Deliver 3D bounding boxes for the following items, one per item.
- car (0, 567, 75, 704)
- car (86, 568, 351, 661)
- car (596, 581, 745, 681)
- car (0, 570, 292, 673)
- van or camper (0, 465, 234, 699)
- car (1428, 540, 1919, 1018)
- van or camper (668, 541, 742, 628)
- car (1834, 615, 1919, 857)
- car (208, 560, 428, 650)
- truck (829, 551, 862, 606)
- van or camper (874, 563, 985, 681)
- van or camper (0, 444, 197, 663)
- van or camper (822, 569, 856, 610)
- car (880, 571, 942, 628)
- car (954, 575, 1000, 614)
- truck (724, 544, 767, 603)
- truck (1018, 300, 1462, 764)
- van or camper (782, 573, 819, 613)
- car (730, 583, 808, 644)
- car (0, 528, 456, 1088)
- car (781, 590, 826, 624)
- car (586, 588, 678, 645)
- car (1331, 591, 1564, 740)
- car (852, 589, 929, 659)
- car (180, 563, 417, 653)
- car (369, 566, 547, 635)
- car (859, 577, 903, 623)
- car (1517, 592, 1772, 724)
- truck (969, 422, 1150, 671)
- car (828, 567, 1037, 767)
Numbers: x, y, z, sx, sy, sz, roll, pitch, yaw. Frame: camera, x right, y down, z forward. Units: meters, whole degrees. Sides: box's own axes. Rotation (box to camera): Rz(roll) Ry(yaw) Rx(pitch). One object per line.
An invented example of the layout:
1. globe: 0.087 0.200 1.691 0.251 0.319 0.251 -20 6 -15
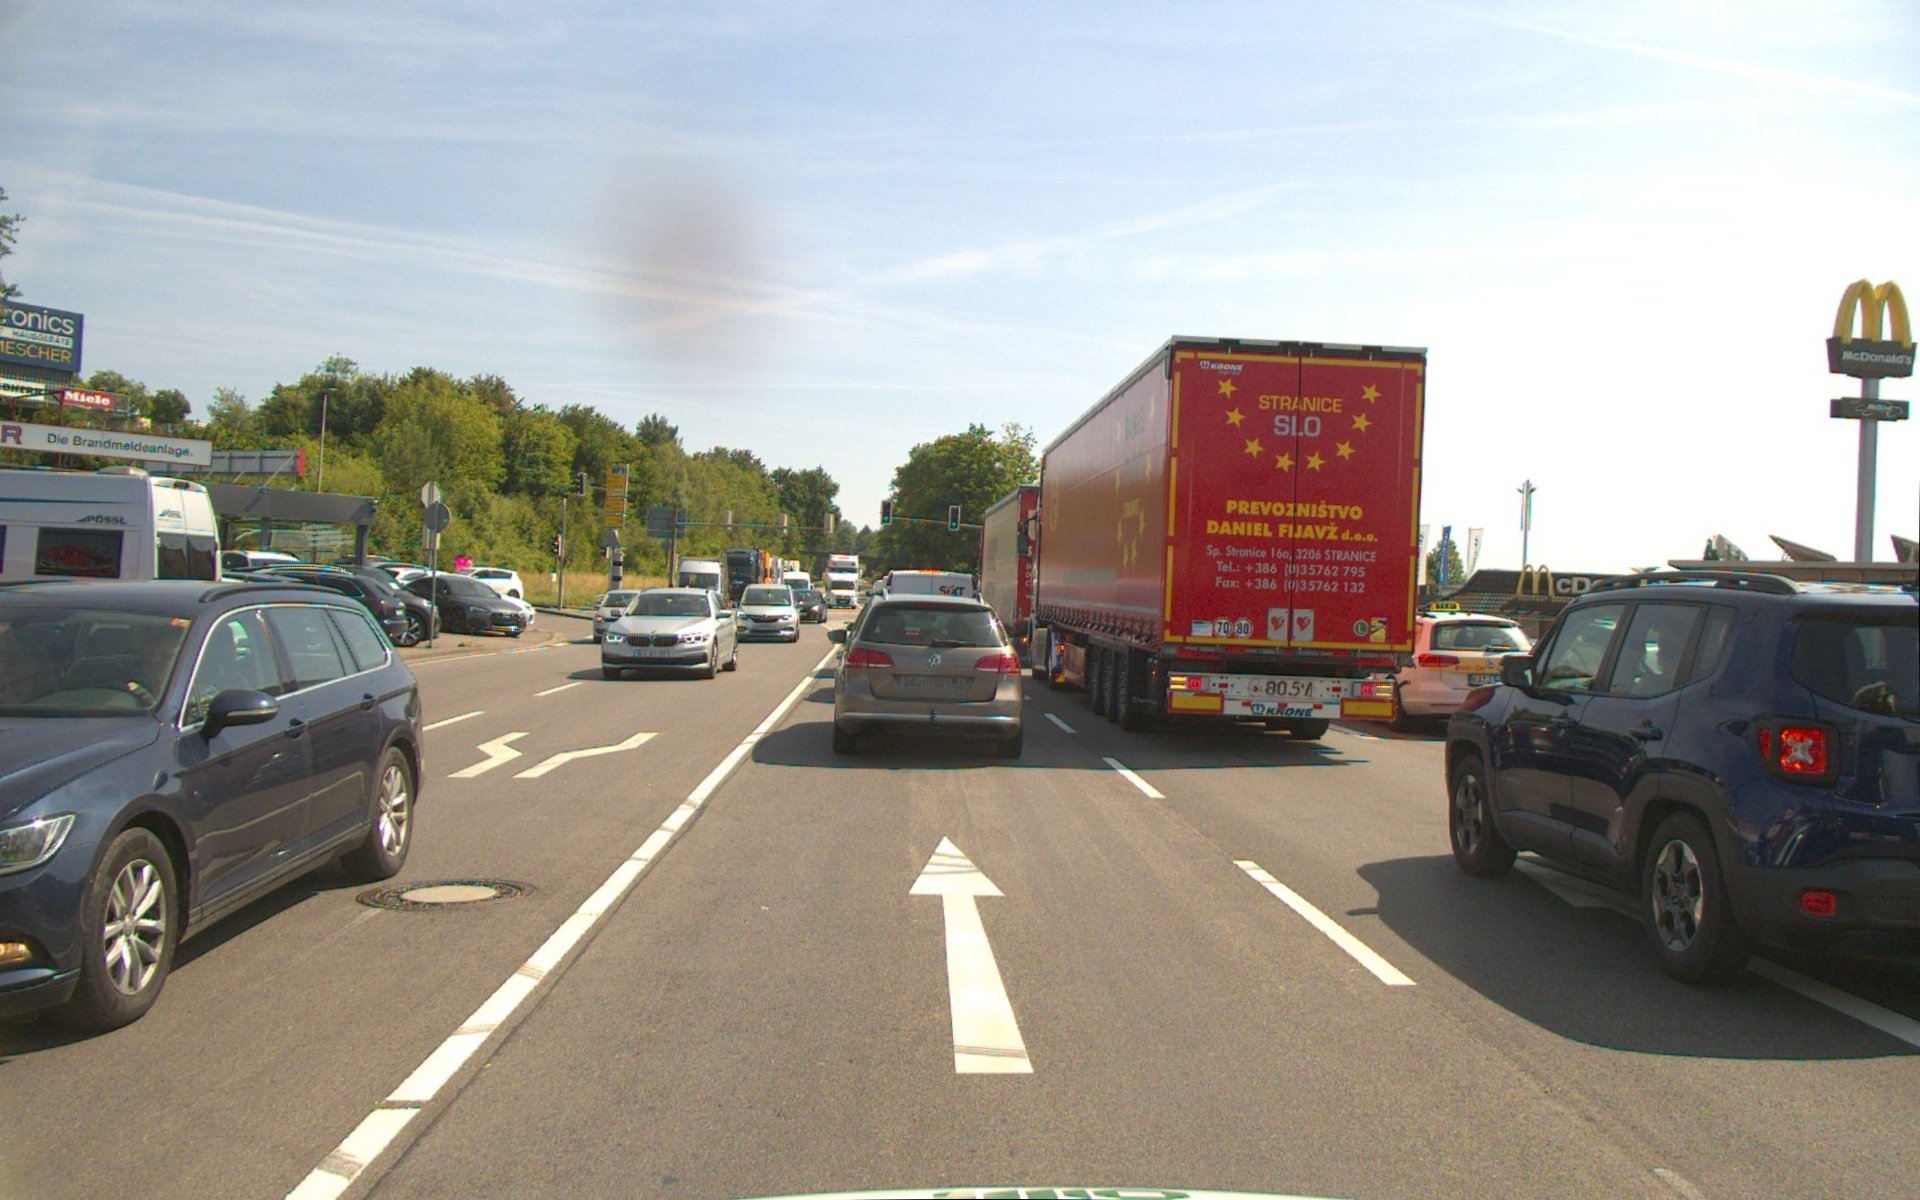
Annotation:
1. car: -12.296 0.351 18.728 3.521 1.506 1.812 1 0 -1
2. car: -12.791 0.239 28.714 3.740 1.473 1.841 1 0 -3
3. car: -4.934 0.487 28.841 1.871 1.548 4.779 1 0 -2
4. car: -12.828 0.331 26.166 3.740 1.473 1.841 1 0 -3
5. van or camper: -12.412 -0.280 21.197 5.139 2.779 2.210 2 0 -1
6. car: 3.751 0.649 7.979 1.782 1.714 3.999 1 0 -1
7. van or camper: -10.265 -0.617 67.045 2.165 3.107 5.898 7 0 -4
8. car: 6.831 0.878 9.329 1.625 1.497 3.999 1 0 -1
9. car: -13.005 0.097 33.686 3.740 1.704 1.841 1 0 -3
10. truck: -9.425 -1.761 136.718 2.502 4.383 7.592 1 0 -2
11. van or camper: -0.607 0.372 30.163 1.815 1.939 3.782 2 0 -3
12. van or camper: -14.384 -0.728 23.639 5.774 2.923 2.289 2 1 -2
13. van or camper: -8.879 -0.729 121.811 2.179 2.890 5.708 2 -1 -2
14. car: -1.419 0.009 48.339 1.692 1.545 3.311 2 -1 -2
15. car: 0.708 -0.219 70.041 1.692 1.545 3.310 3 -1 -3
16. truck: -14.555 -1.798 112.577 2.759 3.852 6.981 0 0 -6
17. truck: 2.993 -0.687 24.181 2.898 4.344 16.576 2 0 -2
18. van or camper: -10.696 -0.476 111.192 2.130 2.596 4.168 2 0 -3
19. car: -5.551 0.372 48.539 1.870 1.692 4.180 0 0 -1
20. car: -3.602 0.563 6.851 1.770 1.587 4.385 1 0 -2
21. car: -6.786 0.285 71.935 1.632 1.434 3.925 0 0 -1
22. car: -9.116 0.442 46.288 1.799 1.473 4.080 1 0 -1
23. car: 6.187 0.759 21.456 1.782 1.714 3.999 1 0 -1
24. car: -1.632 0.564 39.865 1.692 1.545 3.311 2 -1 -1
25. car: -12.488 0.144 31.417 3.740 1.566 1.841 1 0 -3
26. car: -13.582 0.011 44.704 4.429 1.723 2.127 2 0 30
27. car: -3.545 0.013 74.791 1.691 1.942 3.312 2 -1 1
28. car: 10.925 0.927 26.383 3.788 1.954 1.688 2 0 -28
29. truck: 2.218 -1.207 44.602 3.001 5.311 16.999 2 0 -2
30. car: -0.208 0.578 15.883 1.753 1.667 3.504 1 0 1
